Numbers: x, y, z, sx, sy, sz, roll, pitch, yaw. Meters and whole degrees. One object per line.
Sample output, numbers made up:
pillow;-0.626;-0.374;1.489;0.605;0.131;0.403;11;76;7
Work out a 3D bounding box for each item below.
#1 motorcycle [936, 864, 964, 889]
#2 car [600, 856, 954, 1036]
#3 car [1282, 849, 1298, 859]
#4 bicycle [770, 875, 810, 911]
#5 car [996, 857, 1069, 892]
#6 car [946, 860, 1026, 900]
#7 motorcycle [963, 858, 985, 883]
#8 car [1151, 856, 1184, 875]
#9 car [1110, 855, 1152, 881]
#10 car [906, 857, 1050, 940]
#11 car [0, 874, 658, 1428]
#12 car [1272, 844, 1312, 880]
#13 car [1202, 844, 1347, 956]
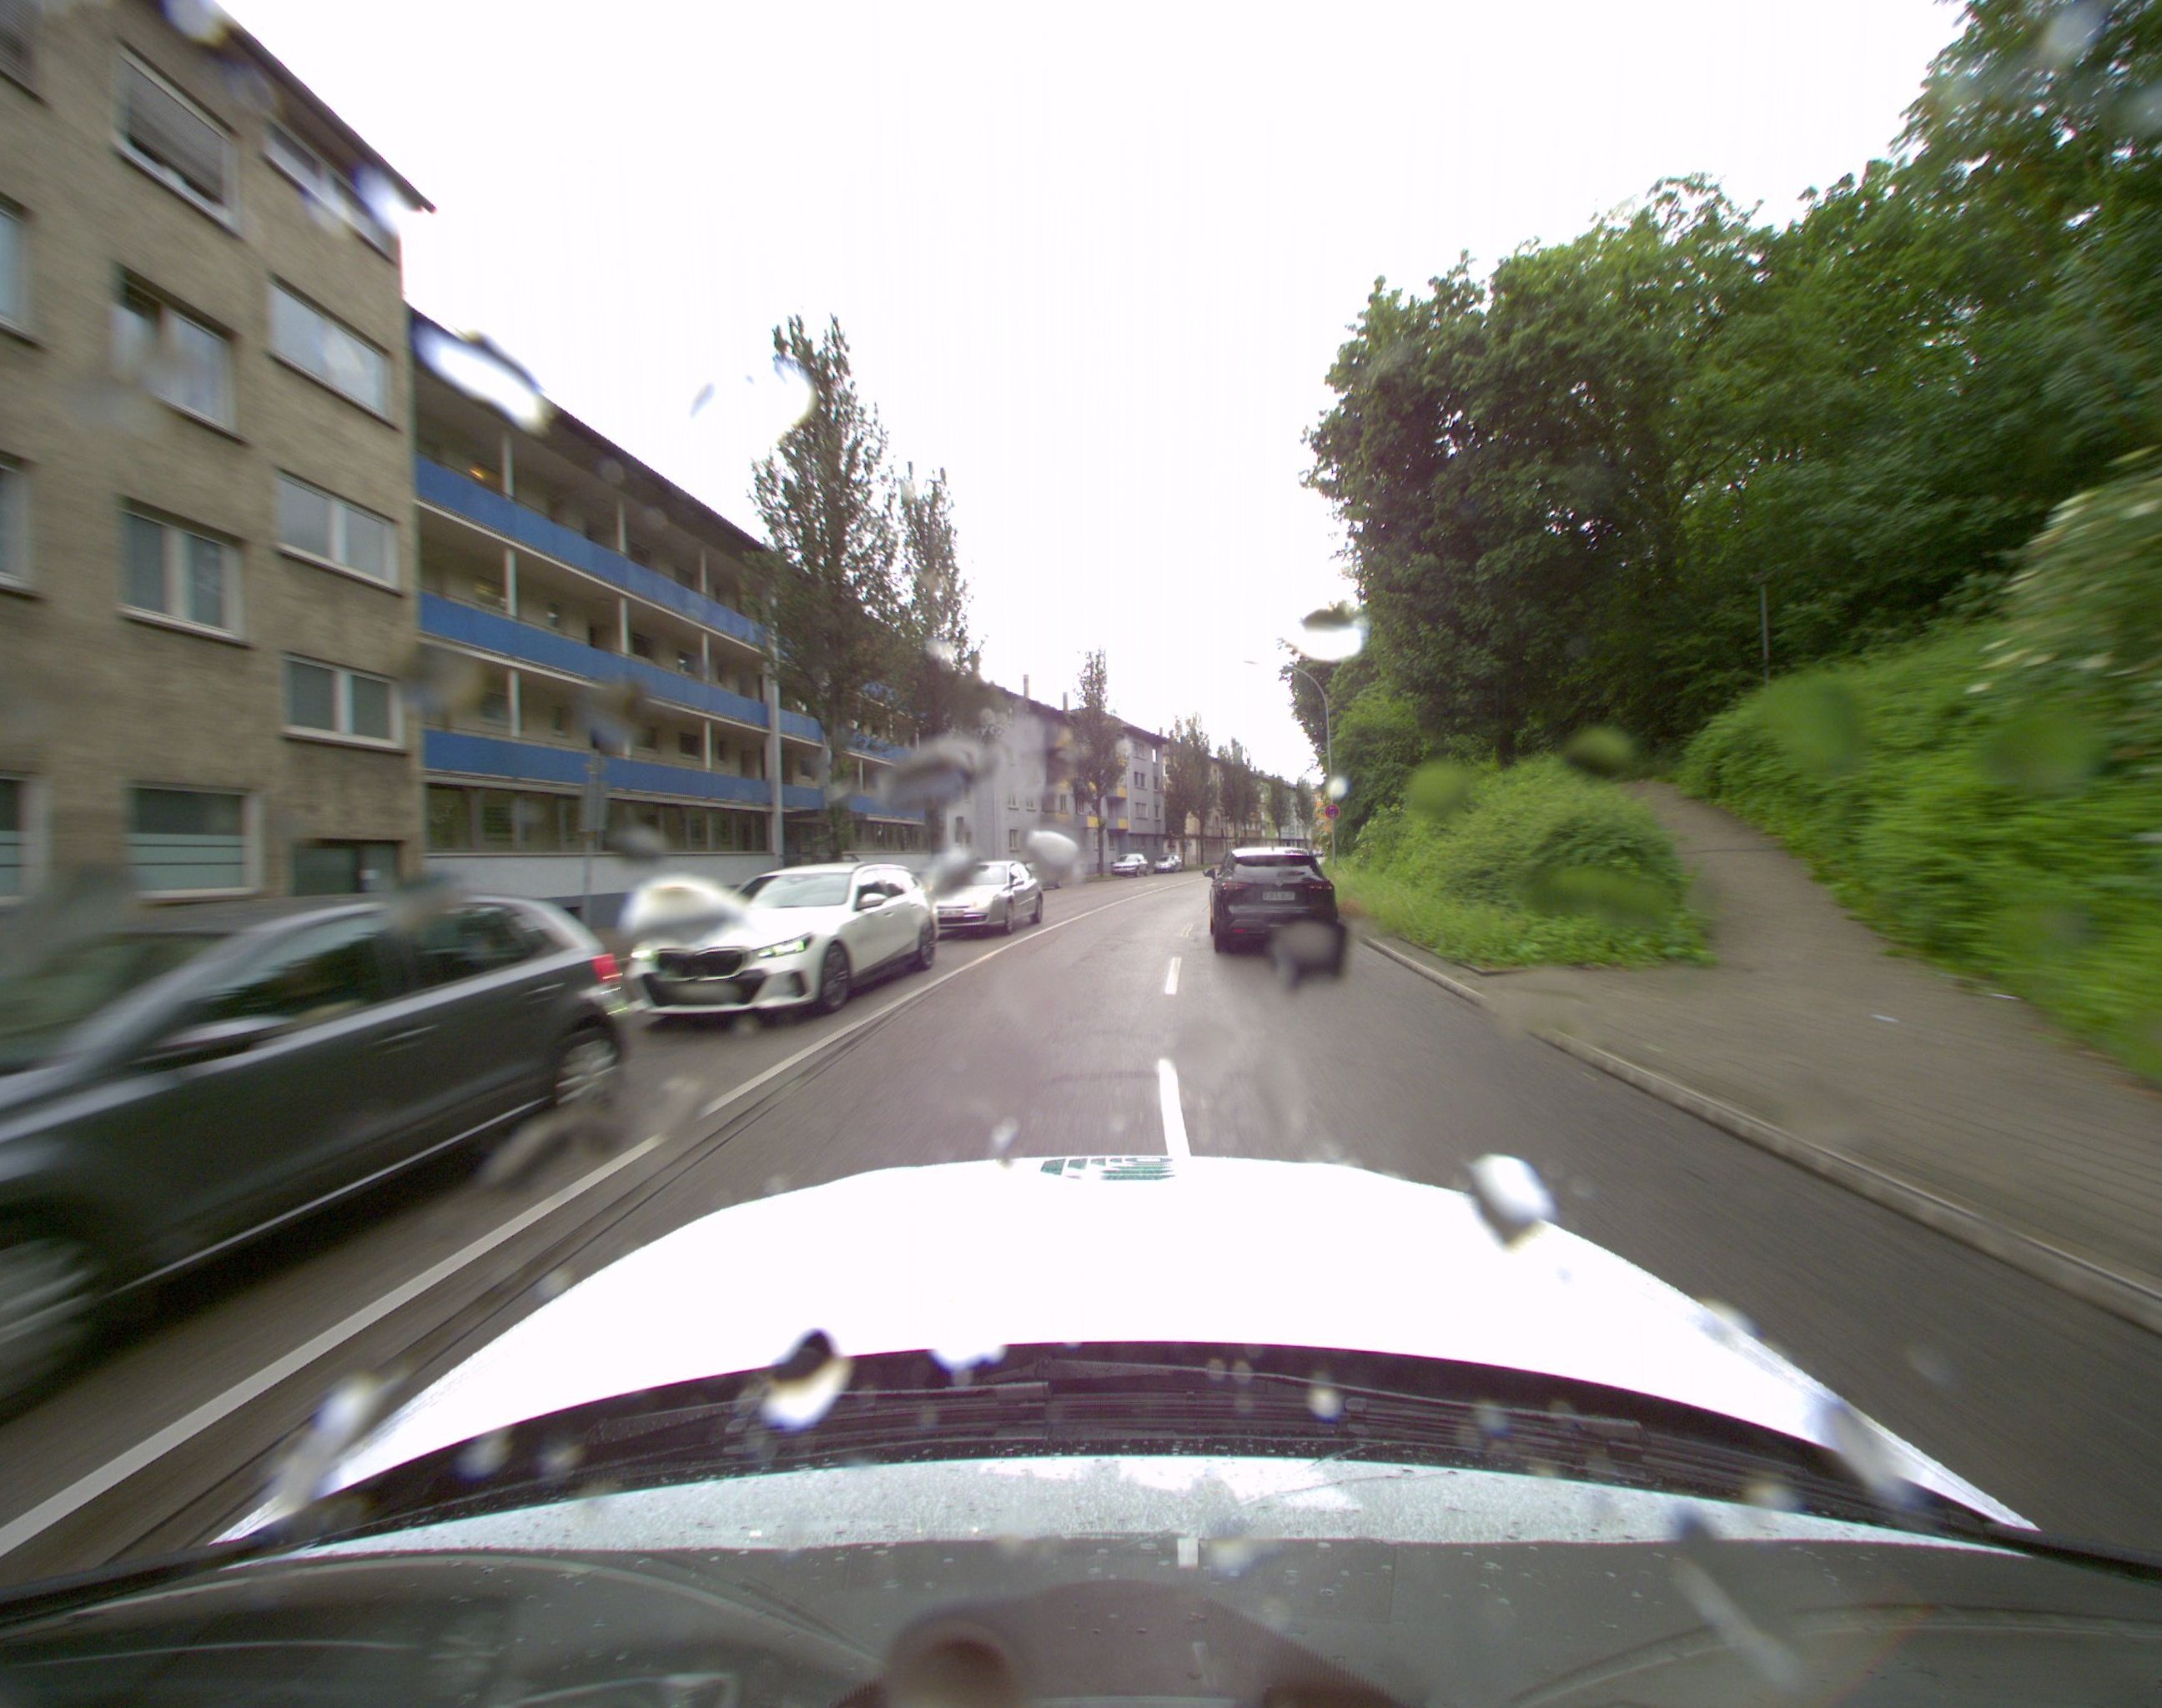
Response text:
motorcycle;-7.017;1.178;43.665;0.670;1.254;2.244;0;0;12
car;-3.165;0.853;9.882;1.810;1.516;5.038;-3;0;7
car;33.207;-0.033;129.467;1.801;1.372;4.706;-4;-1;22
bicycle;-9.228;1.213;25.872;0.610;1.023;1.733;-3;0;0
car;-2.266;0.963;39.395;1.806;1.439;4.914;-4;-1;17
car;-3.873;1.055;34.006;1.766;1.403;4.106;-4;-1;16
motorcycle;-6.298;0.946;48.061;0.671;1.414;2.243;0;0;10
car;7.120;0.935;66.970;1.710;1.453;4.225;-3;-1;19
car;3.502;0.924;56.568;1.749;1.604;4.555;-3;0;18
car;-1.976;0.826;17.073;1.742;1.425;4.548;-2;0;9
car;-3.758;0.902;3.438;1.672;1.447;3.824;-3;0;4
car;10.924;0.397;42.396;1.874;1.711;4.014;-2;0;13
car;3.042;0.640;13.591;1.835;1.582;4.007;-1;0;6
